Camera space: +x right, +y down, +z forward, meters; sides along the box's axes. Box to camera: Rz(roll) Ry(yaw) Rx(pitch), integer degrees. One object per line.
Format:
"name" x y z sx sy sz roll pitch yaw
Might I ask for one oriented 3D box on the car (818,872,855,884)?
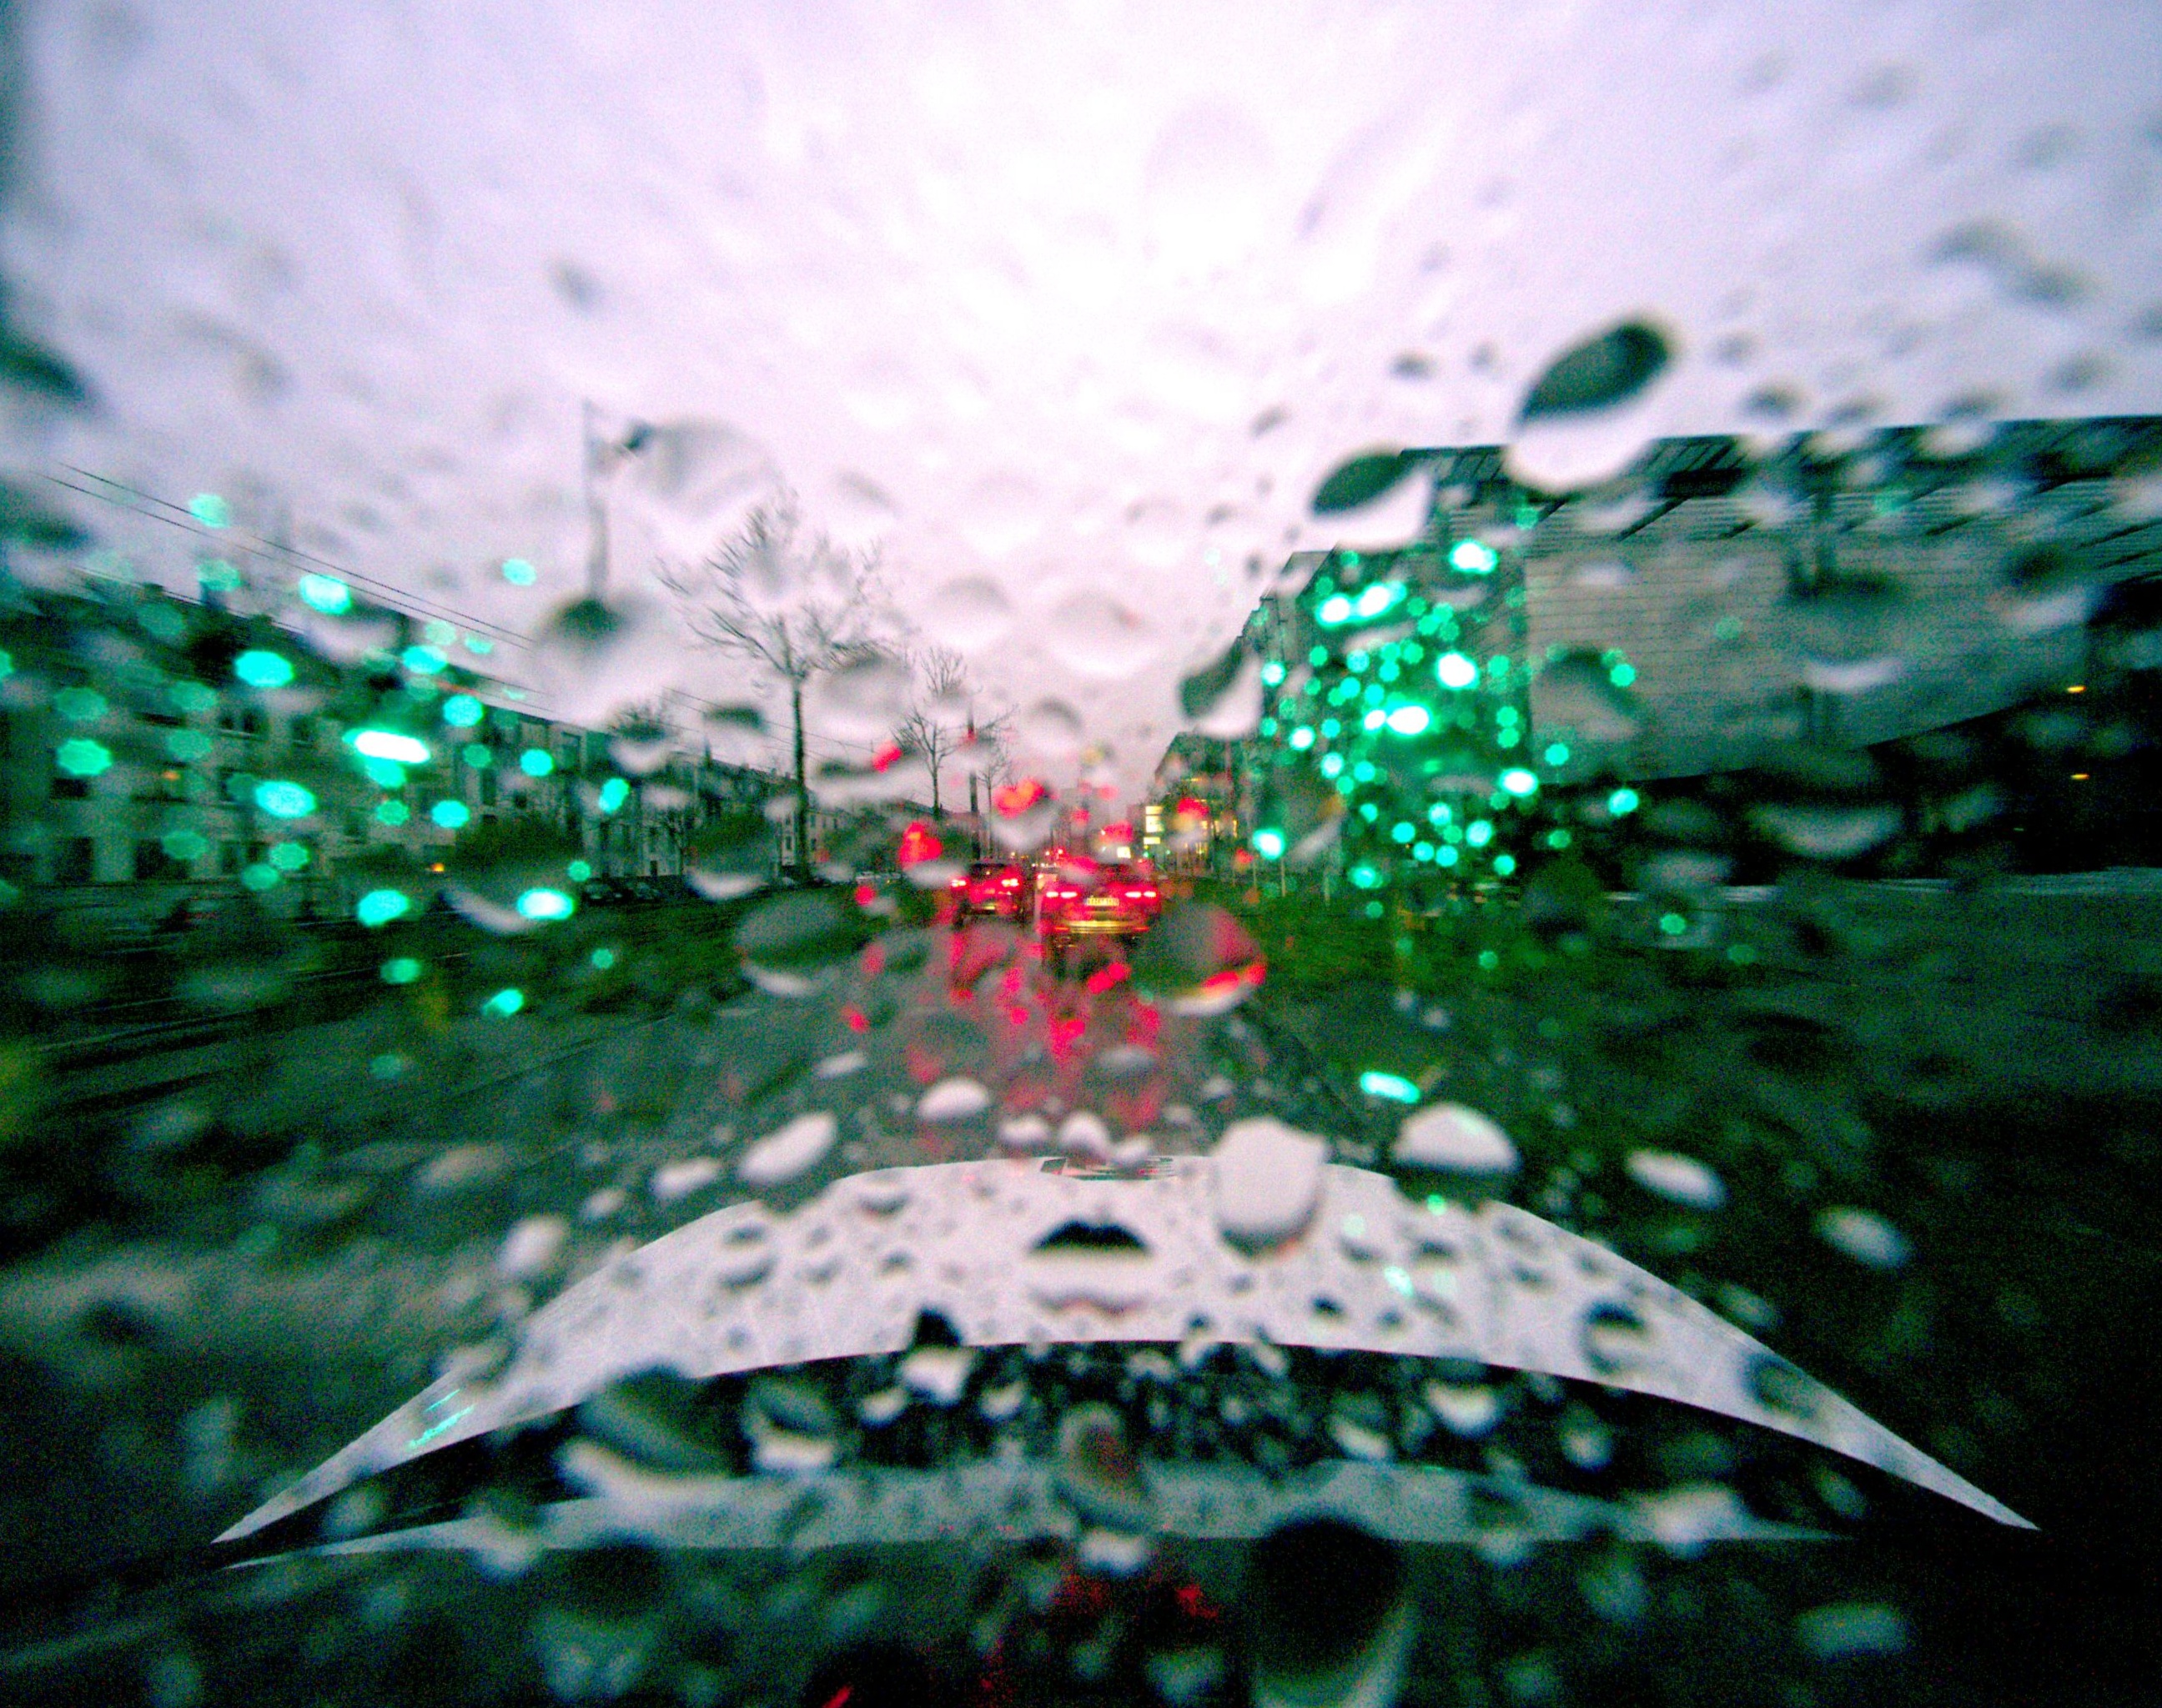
"car" -25.897 2.577 86.219 3.495 1.200 1.894 -1 -1 33

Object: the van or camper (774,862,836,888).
"van or camper" -26.405 1.975 77.831 6.792 2.360 2.013 -1 -1 35

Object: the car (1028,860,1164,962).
"car" 0.257 0.857 13.779 1.986 1.483 3.700 0 -1 1

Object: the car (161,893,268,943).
"car" -27.007 1.952 25.361 3.534 1.309 1.697 0 0 34

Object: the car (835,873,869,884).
"car" -25.272 2.713 89.871 3.374 1.147 1.702 -1 -1 33

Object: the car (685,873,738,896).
"car" -26.136 2.153 57.616 4.109 1.541 1.680 -1 -1 37

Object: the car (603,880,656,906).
"car" -26.581 2.268 47.920 3.342 1.422 1.680 -1 -1 40

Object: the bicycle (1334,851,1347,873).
"bicycle" 15.462 0.489 48.448 0.406 1.284 1.755 -1 -1 28

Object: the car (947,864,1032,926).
"car" -2.326 1.012 21.552 1.812 1.450 3.999 0 -1 -1

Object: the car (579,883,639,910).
"car" -26.103 2.339 45.054 2.899 1.336 1.748 0 0 34

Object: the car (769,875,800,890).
"car" -25.854 2.484 70.898 2.851 1.204 1.397 -1 -1 43

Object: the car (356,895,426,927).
"car" -26.758 2.174 31.582 2.361 1.048 1.446 0 0 34

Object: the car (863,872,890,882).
"car" -25.067 2.837 99.818 3.006 1.147 1.406 -1 -1 32

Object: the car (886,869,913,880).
"car" -24.693 2.819 110.677 3.719 1.337 1.462 -2 -1 37

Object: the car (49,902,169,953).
"car" -27.077 1.995 22.670 3.526 1.141 1.748 0 0 34

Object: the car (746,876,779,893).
"car" -26.824 2.559 68.613 3.058 1.302 1.397 -1 -1 43

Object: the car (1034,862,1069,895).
"car" -1.525 1.254 43.131 1.683 1.635 3.474 0 -1 1

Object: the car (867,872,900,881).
"car" -24.975 2.873 103.033 4.135 1.116 1.692 -1 -1 32

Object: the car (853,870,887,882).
"car" -25.119 2.574 96.855 4.071 1.378 1.784 -1 -1 38

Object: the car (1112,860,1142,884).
"car" 3.050 1.150 53.303 1.859 1.543 3.614 0 -1 4

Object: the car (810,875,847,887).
"car" -25.892 2.756 83.556 3.495 1.212 1.759 -1 -1 33

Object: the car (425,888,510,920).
"car" -26.291 2.096 34.865 3.772 1.172 1.748 0 0 34

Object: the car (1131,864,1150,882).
"car" 5.689 1.789 77.635 1.631 1.728 4.007 0 -1 6

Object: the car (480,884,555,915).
"car" -26.261 2.103 37.935 3.794 1.245 1.748 0 0 37

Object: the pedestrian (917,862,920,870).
"pedestrian" -26.254 1.947 131.625 0.348 1.184 0.429 0 -1 -39

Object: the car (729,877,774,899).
"car" -26.018 2.638 64.225 3.800 1.588 1.753 -1 -1 41
